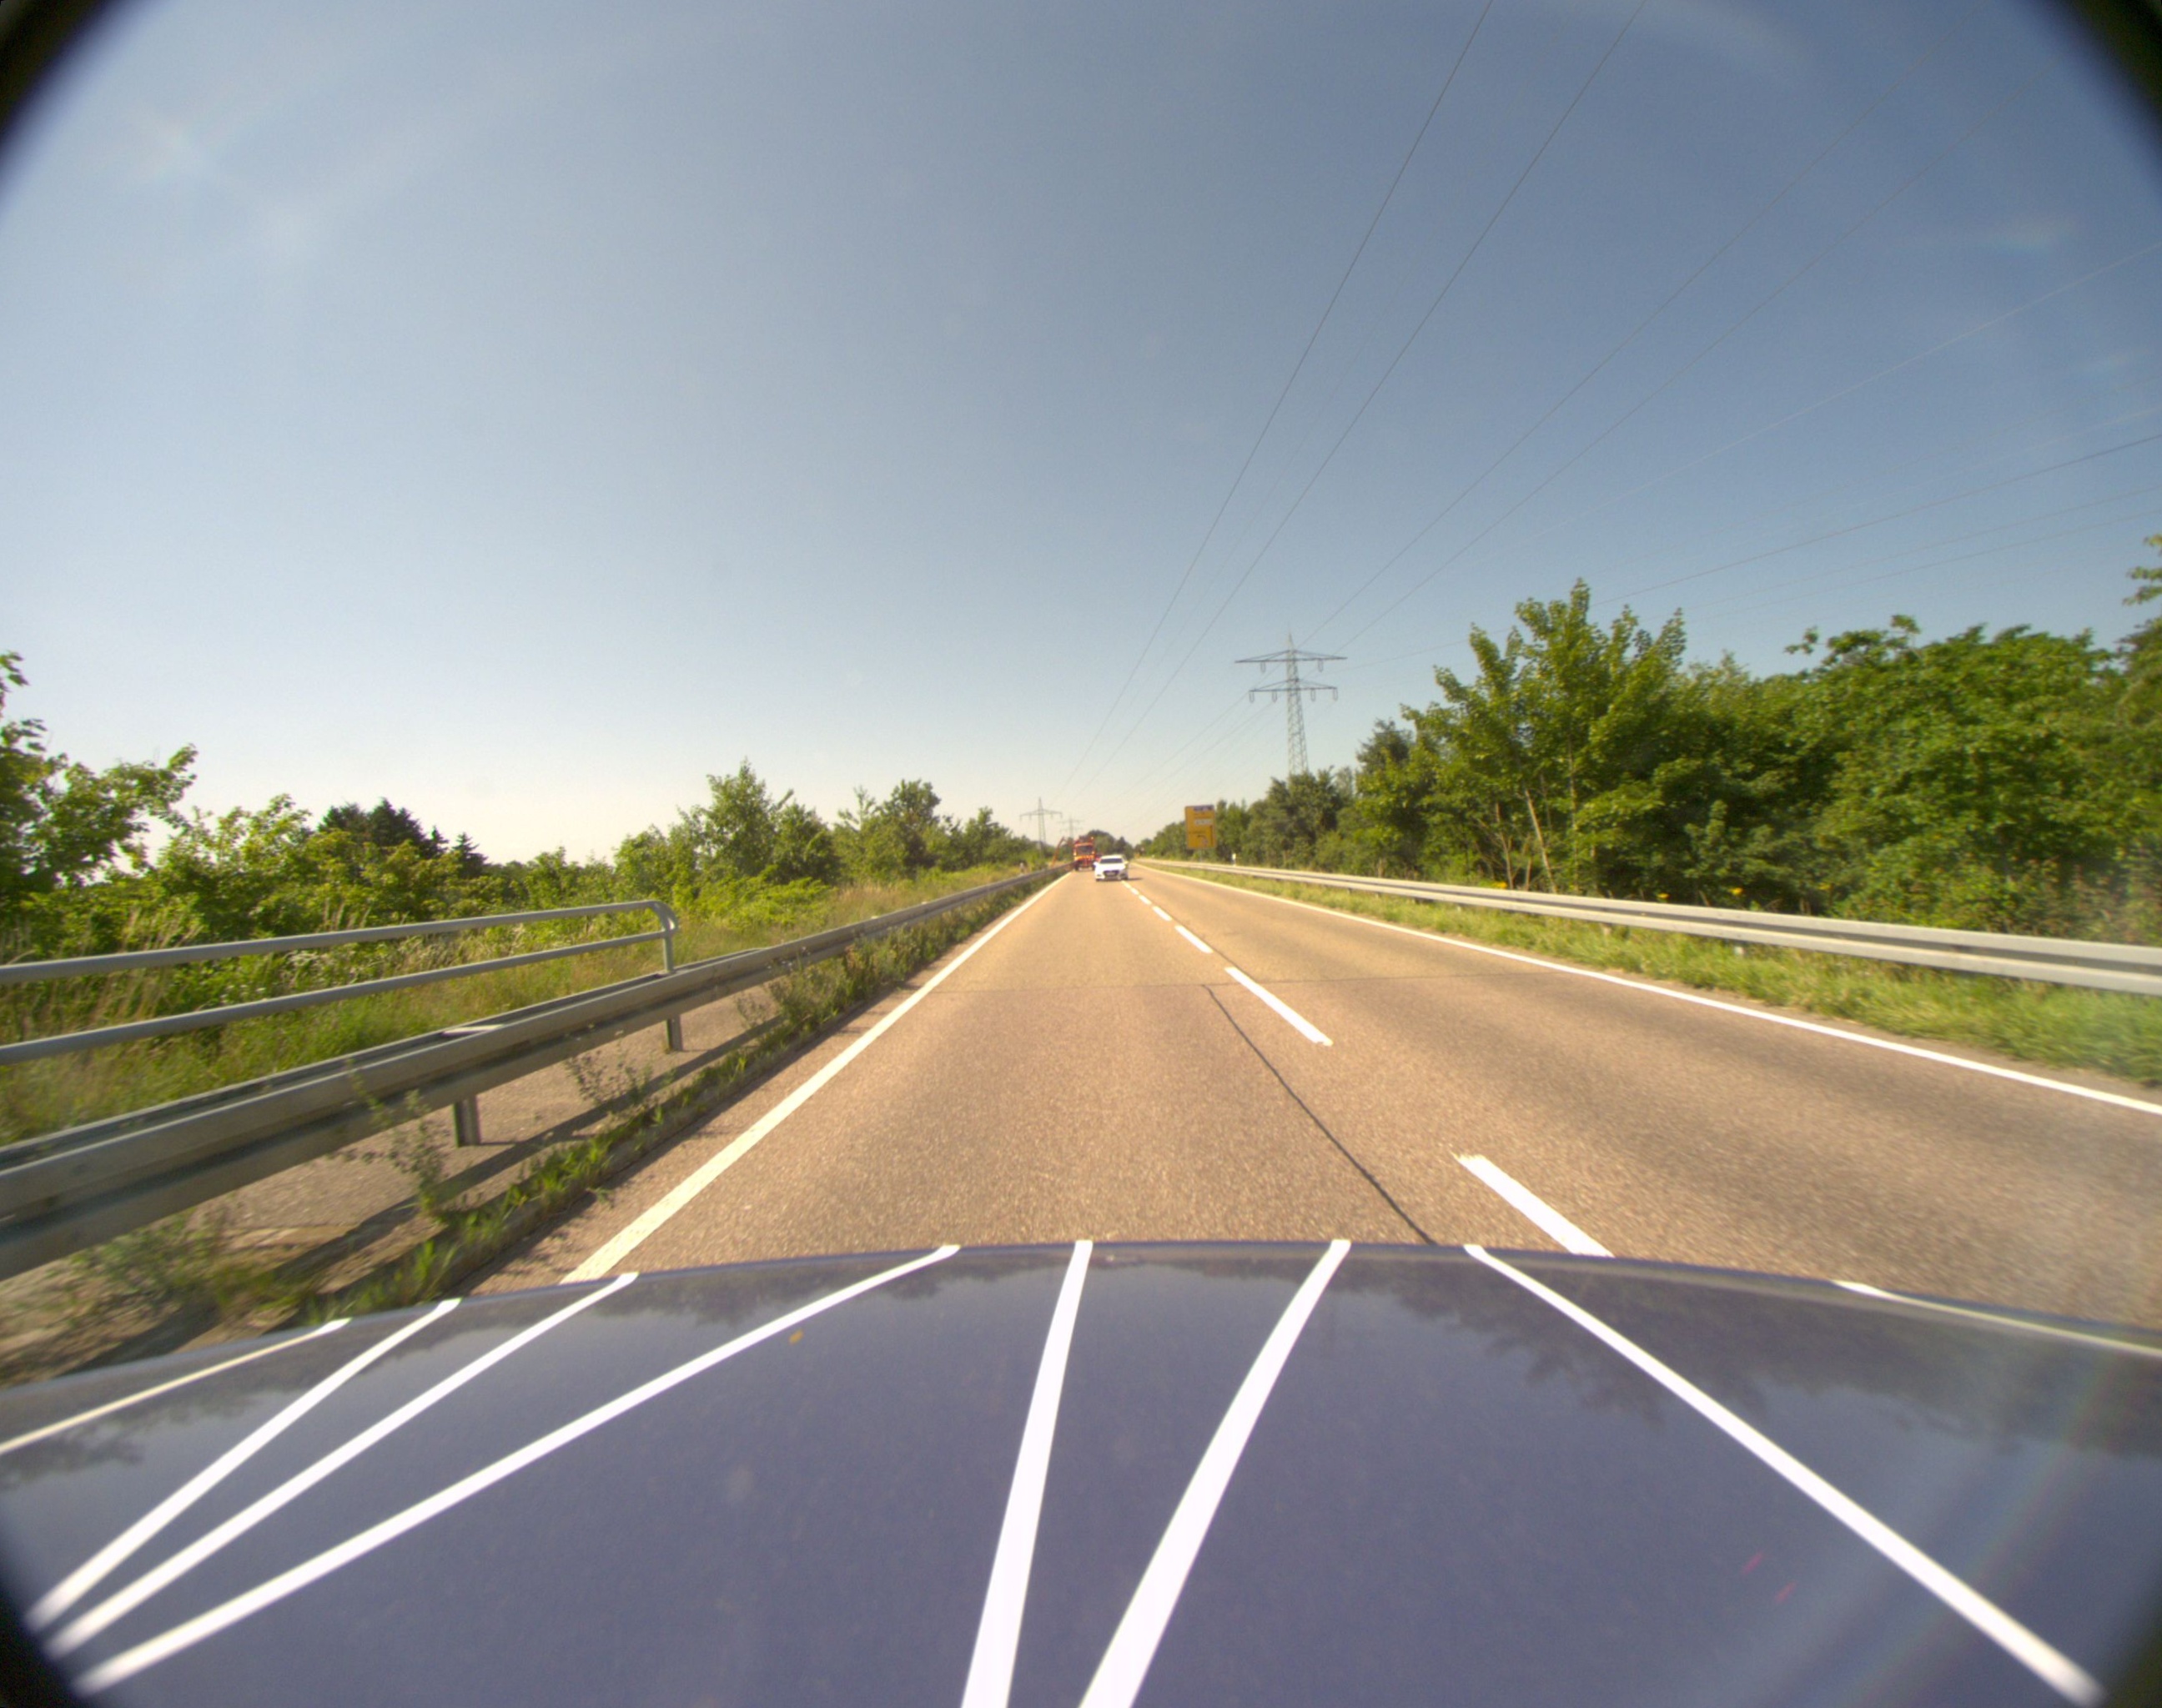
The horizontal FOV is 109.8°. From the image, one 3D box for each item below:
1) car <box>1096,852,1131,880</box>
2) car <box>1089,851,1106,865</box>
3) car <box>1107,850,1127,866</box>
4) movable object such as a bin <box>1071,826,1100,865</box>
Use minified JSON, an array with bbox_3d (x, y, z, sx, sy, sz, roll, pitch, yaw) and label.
[{"bbox_3d":[1.928,0.691,45.710,1.922,1.496,4.794,-3,0,2],"label":"car"},{"bbox_3d":[2.388,0.633,112.798,2.127,1.934,5.017,-3,0,-3],"label":"car"},{"bbox_3d":[3.805,0.398,80.983,1.922,1.540,4.794,-3,0,2],"label":"car"},{"bbox_3d":[0.506,-0.881,81.128,2.760,3.817,9.445,-3,0,1],"label":"movable object such as a bin"}]
